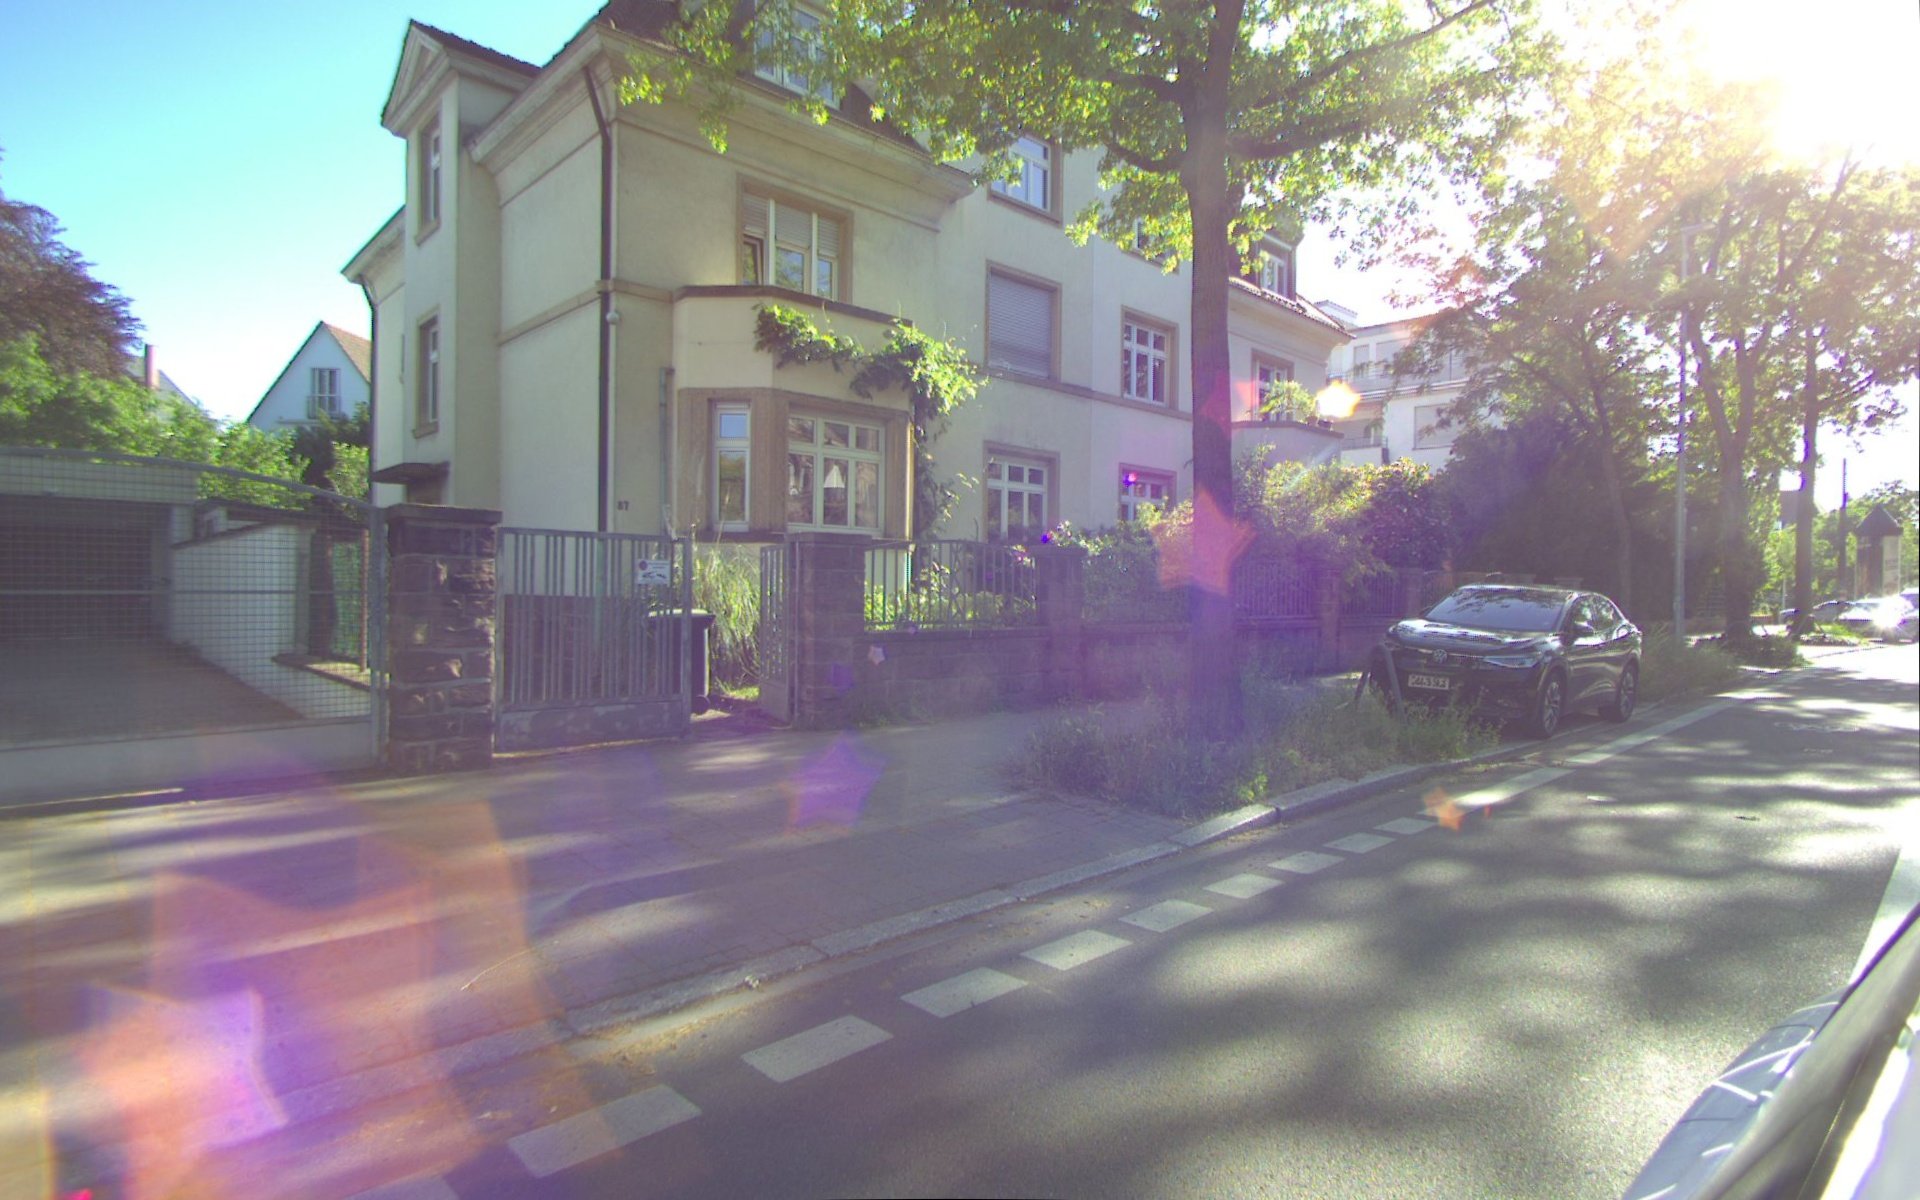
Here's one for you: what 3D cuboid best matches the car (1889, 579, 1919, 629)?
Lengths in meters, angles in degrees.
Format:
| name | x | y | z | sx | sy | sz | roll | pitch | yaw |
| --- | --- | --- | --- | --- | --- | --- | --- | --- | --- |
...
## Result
| name | x | y | z | sx | sy | sz | roll | pitch | yaw |
| --- | --- | --- | --- | --- | --- | --- | --- | --- | --- |
| car | 36.678 | 0.131 | 37.856 | 4.580 | 1.808 | 1.903 | 0 | 1 | -35 |

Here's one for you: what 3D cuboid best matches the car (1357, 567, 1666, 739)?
| name | x | y | z | sx | sy | sz | roll | pitch | yaw |
| --- | --- | --- | --- | --- | --- | --- | --- | --- | --- |
| car | 6.715 | 0.495 | 12.138 | 4.186 | 1.619 | 1.917 | 0 | 4 | -42 |

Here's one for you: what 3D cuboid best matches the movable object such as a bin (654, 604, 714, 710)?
| name | x | y | z | sx | sy | sz | roll | pitch | yaw |
| --- | --- | --- | --- | --- | --- | --- | --- | --- | --- |
| movable object such as a bin | -2.917 | 0.583 | 10.673 | 0.551 | 1.062 | 0.676 | 0 | 0 | -20 |

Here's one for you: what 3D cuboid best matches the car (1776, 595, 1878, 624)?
| name | x | y | z | sx | sy | sz | roll | pitch | yaw |
| --- | --- | --- | --- | --- | --- | --- | --- | --- | --- |
| car | 46.073 | 0.461 | 53.839 | 1.784 | 1.459 | 3.990 | 0 | 1 | -44 |

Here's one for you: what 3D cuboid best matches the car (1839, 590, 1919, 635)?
| name | x | y | z | sx | sy | sz | roll | pitch | yaw |
| --- | --- | --- | --- | --- | --- | --- | --- | --- | --- |
| car | 31.518 | 0.383 | 34.274 | 4.181 | 1.427 | 1.901 | 0 | 1 | -38 |
